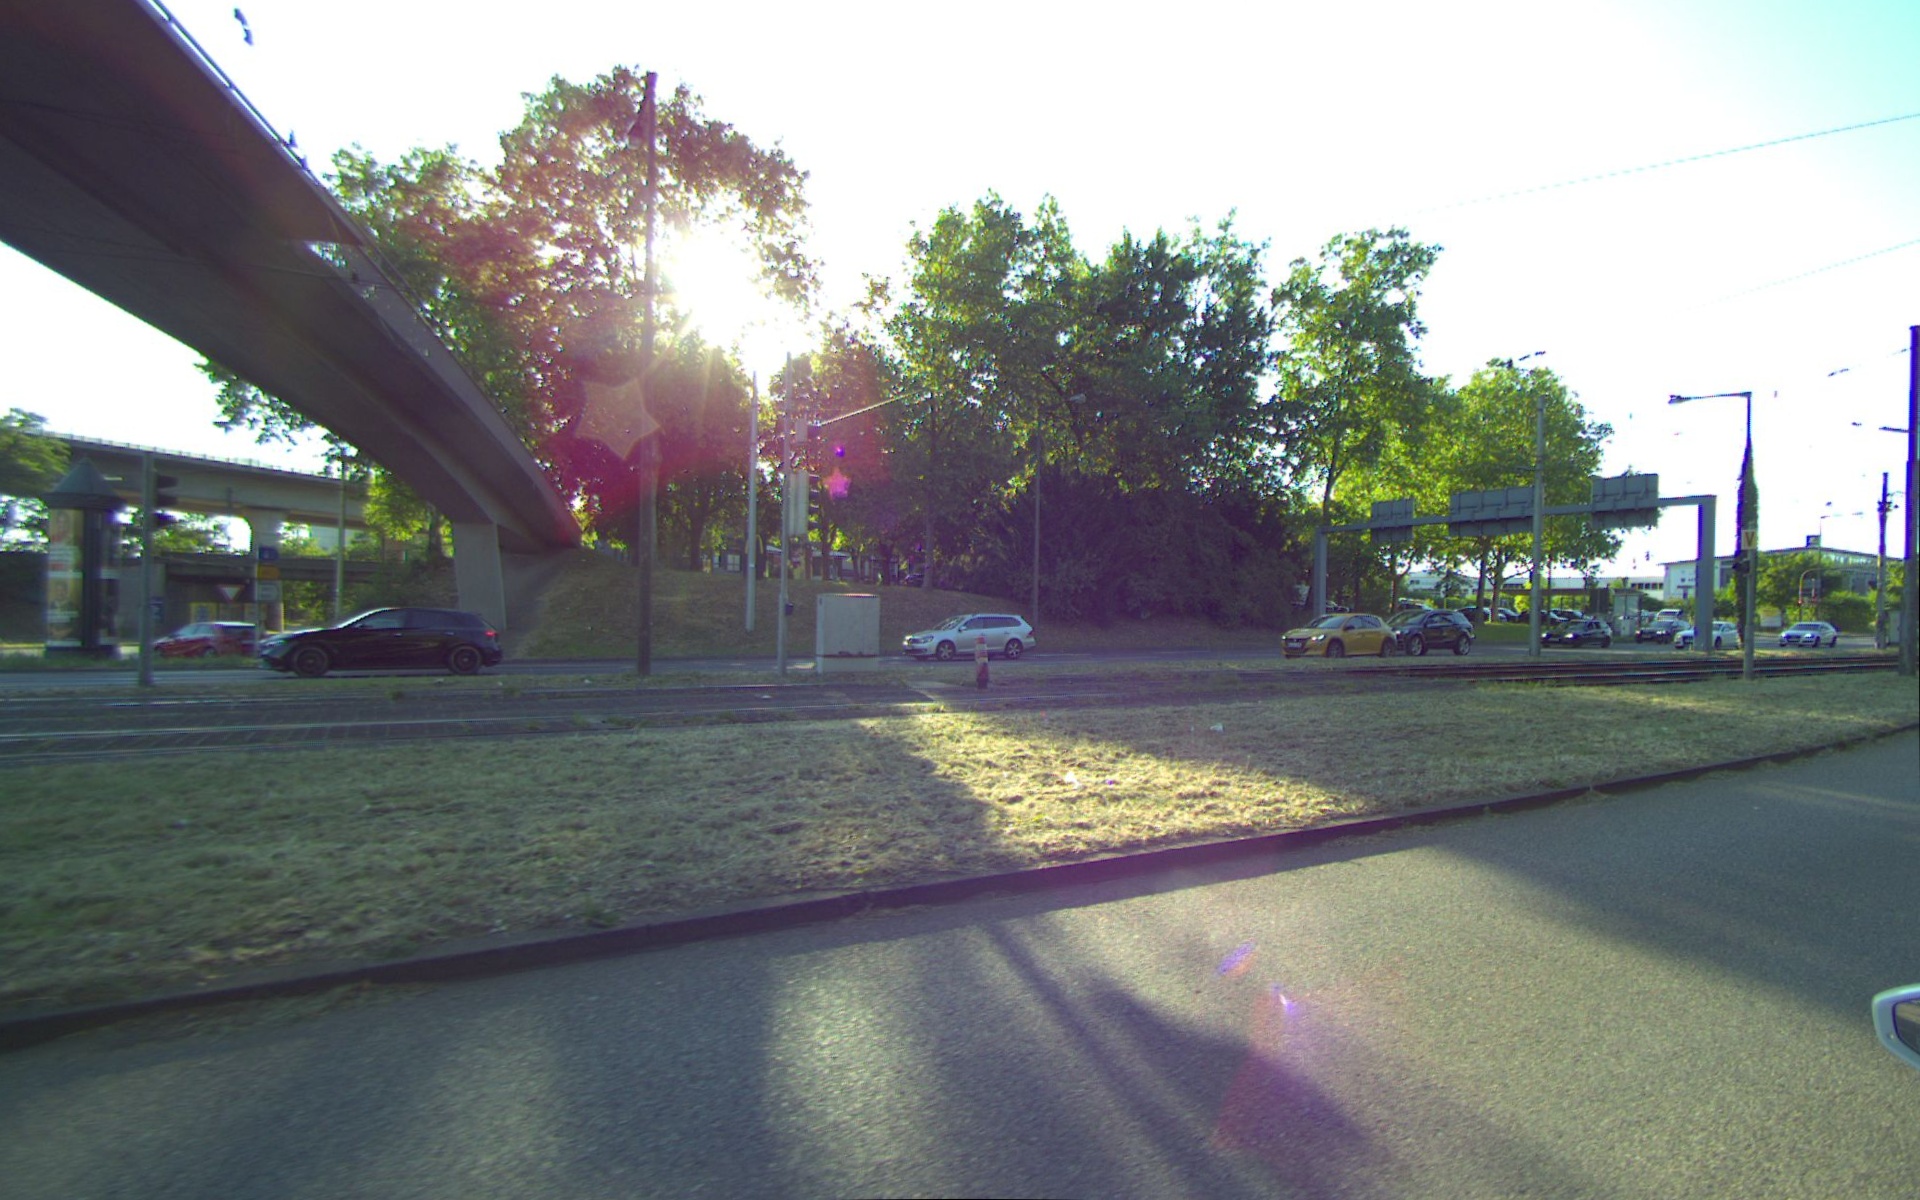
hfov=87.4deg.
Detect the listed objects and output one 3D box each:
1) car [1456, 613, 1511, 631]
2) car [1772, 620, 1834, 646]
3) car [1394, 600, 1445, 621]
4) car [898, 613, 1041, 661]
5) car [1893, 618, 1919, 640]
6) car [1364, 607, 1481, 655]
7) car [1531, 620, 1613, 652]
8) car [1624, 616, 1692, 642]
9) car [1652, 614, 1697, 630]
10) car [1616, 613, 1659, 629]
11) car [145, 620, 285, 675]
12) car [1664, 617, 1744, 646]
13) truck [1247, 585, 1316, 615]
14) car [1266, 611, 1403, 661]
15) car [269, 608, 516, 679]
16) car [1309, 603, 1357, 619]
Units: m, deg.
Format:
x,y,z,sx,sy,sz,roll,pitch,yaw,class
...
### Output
x,y,z,sx,sy,sz,roll,pitch,yaw,class
46.924,1.969,90.069,1.763,1.405,4.036,1,0,-29,car
49.380,1.932,58.828,4.212,1.435,1.644,1,0,-33,car
43.608,0.981,95.382,1.975,1.884,3.971,1,0,-28,car
0.339,1.197,32.464,4.385,1.435,1.678,2,0,-30,car
65.004,1.953,67.987,4.210,1.435,1.644,1,0,-32,car
17.530,1.158,38.025,4.383,1.677,1.829,1,0,-30,car
31.607,1.840,51.859,4.387,1.501,1.828,1,0,-32,car
43.647,1.827,62.805,4.549,1.501,1.828,1,0,-32,car
67.095,2.050,94.309,3.951,1.461,1.833,1,1,-29,car
65.189,2.014,96.600,3.951,1.461,1.833,1,1,-29,car
-24.710,1.538,33.309,4.273,1.672,1.795,0,-1,23,car
37.905,1.588,51.147,4.550,1.434,1.828,1,-1,-33,car
38.738,-0.075,121.356,2.702,3.433,8.250,1,1,-29,truck
11.482,1.088,30.784,3.971,1.434,1.830,2,-1,-30,car
-11.608,0.883,20.808,4.257,1.327,1.679,2,-1,-29,car
34.234,1.009,92.346,1.655,1.277,3.965,1,1,-32,car
